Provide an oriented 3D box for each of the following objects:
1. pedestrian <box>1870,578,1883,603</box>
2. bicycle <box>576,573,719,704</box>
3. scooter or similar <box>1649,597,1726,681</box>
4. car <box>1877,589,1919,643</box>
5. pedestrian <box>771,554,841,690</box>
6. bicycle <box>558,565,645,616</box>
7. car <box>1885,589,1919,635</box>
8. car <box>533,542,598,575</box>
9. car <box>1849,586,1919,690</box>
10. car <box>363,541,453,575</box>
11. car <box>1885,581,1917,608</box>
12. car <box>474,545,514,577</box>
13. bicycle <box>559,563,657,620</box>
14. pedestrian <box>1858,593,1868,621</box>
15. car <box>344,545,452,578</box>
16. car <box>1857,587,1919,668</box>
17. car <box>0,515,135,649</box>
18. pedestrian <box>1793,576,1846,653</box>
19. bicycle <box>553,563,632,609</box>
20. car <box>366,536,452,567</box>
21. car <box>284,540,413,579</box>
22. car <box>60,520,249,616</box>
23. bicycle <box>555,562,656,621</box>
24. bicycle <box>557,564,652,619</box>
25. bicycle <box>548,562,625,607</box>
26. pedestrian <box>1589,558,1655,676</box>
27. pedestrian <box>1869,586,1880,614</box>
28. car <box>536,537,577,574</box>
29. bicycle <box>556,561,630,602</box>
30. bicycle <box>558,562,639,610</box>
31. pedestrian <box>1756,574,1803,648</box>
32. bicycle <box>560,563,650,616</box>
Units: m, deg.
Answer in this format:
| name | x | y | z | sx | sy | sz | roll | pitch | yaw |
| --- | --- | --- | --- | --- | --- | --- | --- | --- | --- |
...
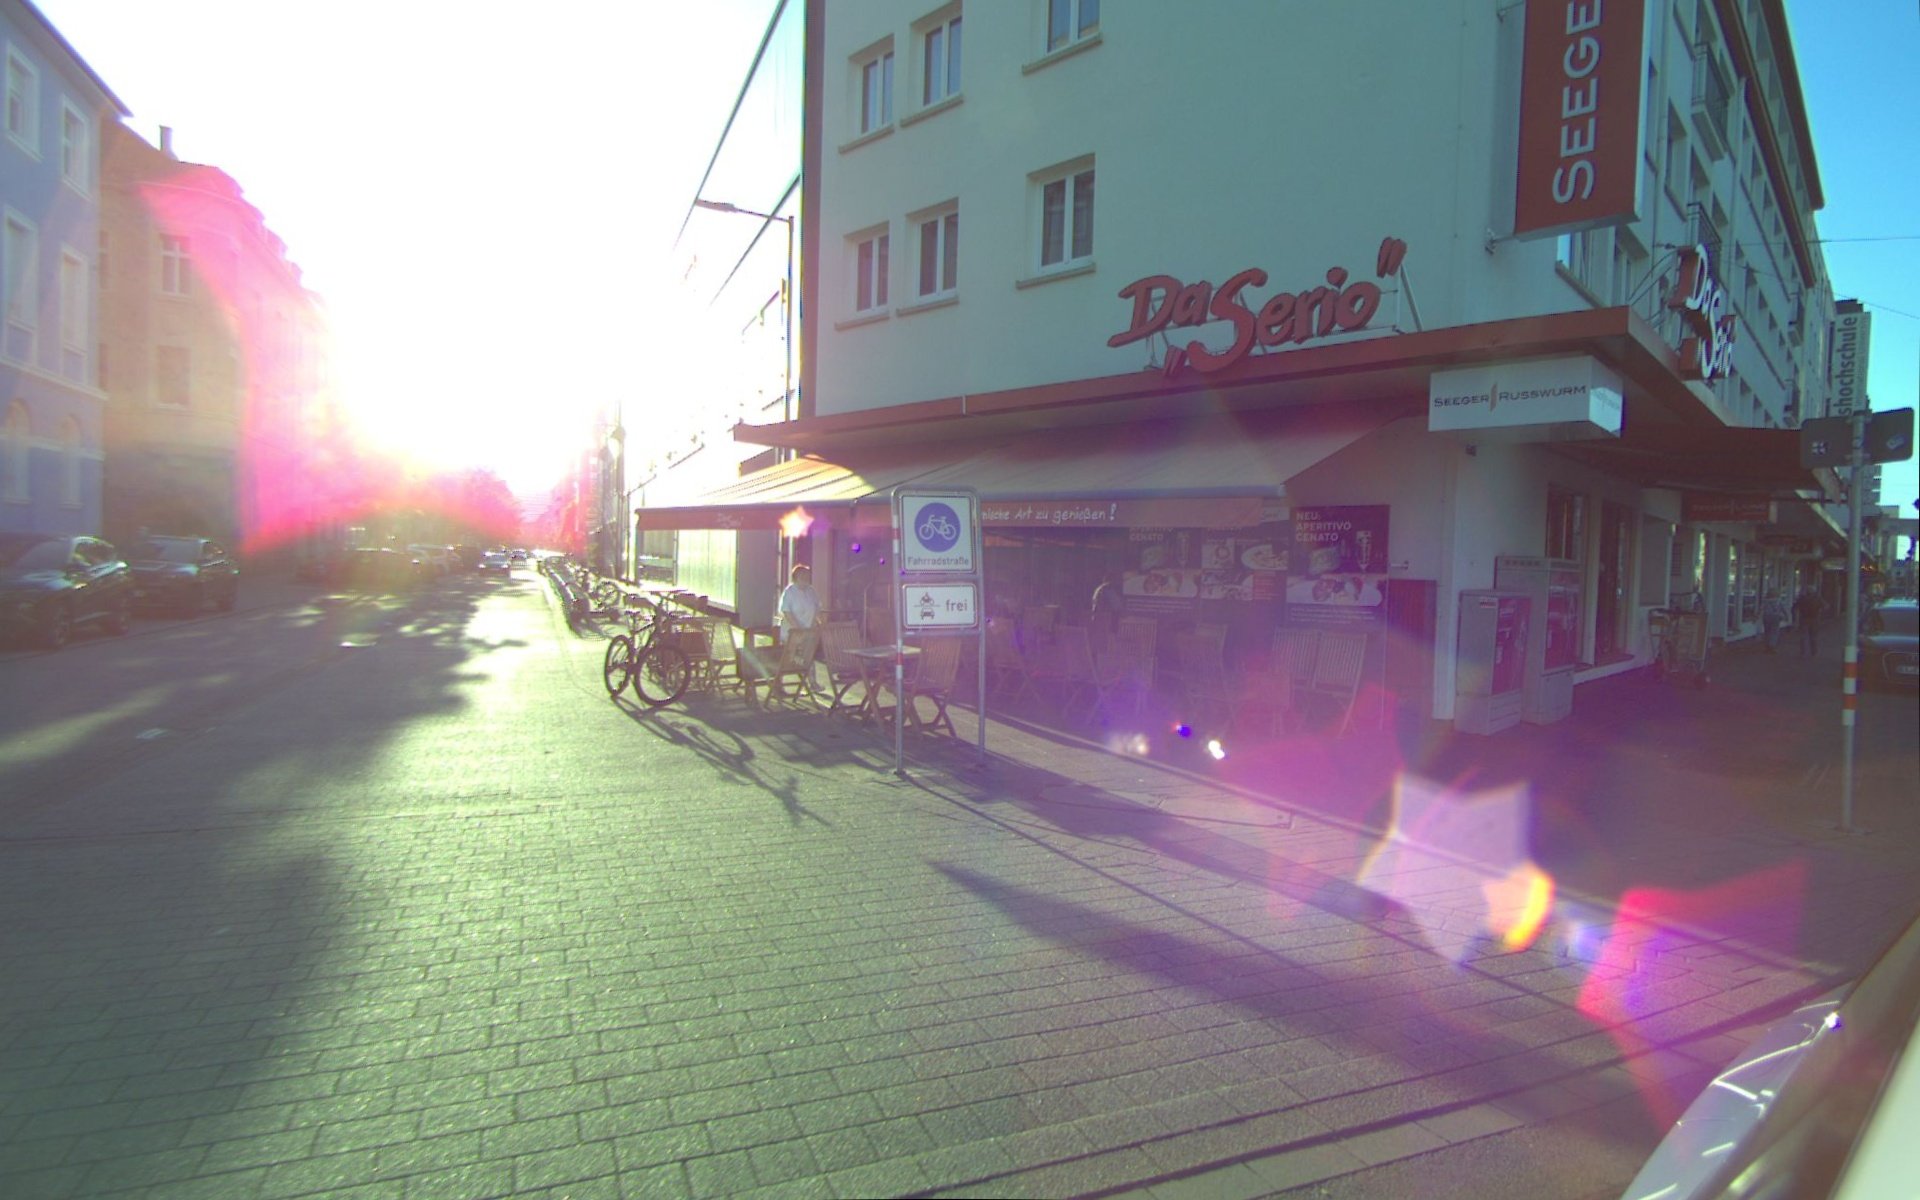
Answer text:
| name | x | y | z | sx | sy | sz | roll | pitch | yaw |
| --- | --- | --- | --- | --- | --- | --- | --- | --- | --- |
| pedestrian | 76.263 | -0.796 | 84.190 | 0.710 | 2.038 | 0.812 | 4 | 2 | 43 |
| bicycle | -3.584 | 0.376 | 11.473 | 0.692 | 1.303 | 2.109 | 0 | 3 | -43 |
| scooter or similar | 11.356 | 0.589 | 15.836 | 0.350 | 1.217 | 1.247 | 2 | 2 | 5 |
| car | 29.954 | 0.486 | 31.623 | 1.736 | 1.530 | 4.235 | 6 | 4 | 43 |
| pedestrian | -1.818 | 0.240 | 11.990 | 0.569 | 1.560 | 0.567 | 2 | 2 | 34 |
| bicycle | -9.494 | -0.255 | 26.829 | 2.069 | 1.235 | 0.706 | 2 | 1 | -24 |
| car | 34.376 | 0.420 | 36.173 | 1.790 | 1.530 | 4.640 | 5 | 4 | 42 |
| car | -25.533 | -2.681 | 65.603 | 3.916 | 2.039 | 2.004 | 0 | 1 | -21 |
| car | 16.376 | 0.600 | 17.127 | 1.736 | 1.530 | 4.612 | 6 | 4 | 43 |
| car | -30.366 | -2.320 | 55.729 | 1.991 | 1.731 | 3.943 | 3 | 2 | 40 |
| car | 89.487 | -0.527 | 96.274 | 2.040 | 2.414 | 5.500 | 4 | 3 | 42 |
| car | -30.702 | -2.566 | 66.740 | 1.958 | 2.039 | 4.009 | 0 | 1 | -19 |
| bicycle | -8.280 | -0.195 | 23.828 | 2.069 | 1.235 | 0.706 | 2 | 1 | -24 |
| pedestrian | 63.700 | 0.510 | 71.383 | 0.451 | 1.922 | 0.415 | 4 | 2 | 43 |
| car | -25.844 | -1.751 | 46.583 | 1.994 | 1.404 | 3.937 | 4 | 3 | 44 |
| car | 20.401 | 0.564 | 21.498 | 1.786 | 1.530 | 3.988 | 6 | 4 | 43 |
| car | -14.101 | -0.362 | 15.203 | 1.855 | 1.771 | 4.007 | 4 | 1 | -29 |
| pedestrian | 20.626 | 0.331 | 24.291 | 0.827 | 1.739 | 0.829 | 5 | 4 | 44 |
| bicycle | -10.756 | -0.412 | 29.637 | 2.069 | 1.235 | 0.706 | 2 | 1 | -24 |
| car | -31.729 | -2.765 | 58.329 | 1.991 | 1.626 | 3.943 | 3 | 2 | 40 |
| car | -24.437 | -1.607 | 40.563 | 1.983 | 1.448 | 3.959 | 3 | 2 | 29 |
| car | -16.955 | -0.707 | 21.576 | 1.854 | 1.771 | 4.444 | 3 | 2 | -21 |
| bicycle | -8.043 | -0.184 | 22.964 | 2.069 | 1.235 | 0.706 | 2 | 1 | -24 |
| bicycle | -8.632 | -0.203 | 24.571 | 2.069 | 1.235 | 0.706 | 2 | 1 | -24 |
| bicycle | -11.178 | -0.453 | 30.269 | 2.069 | 1.235 | 0.706 | 2 | 1 | -24 |
| pedestrian | 10.248 | 0.246 | 15.672 | 0.592 | 1.782 | 0.527 | 2 | 2 | -1 |
| pedestrian | 63.602 | -0.016 | 70.370 | 0.455 | 1.922 | 0.415 | 4 | 2 | 43 |
| car | -23.307 | -2.509 | 58.566 | 1.958 | 2.039 | 4.267 | 0 | 1 | -19 |
| bicycle | -11.749 | -0.589 | 32.423 | 2.071 | 1.235 | 0.705 | 2 | 1 | -31 |
| bicycle | -10.143 | -0.388 | 28.402 | 2.069 | 1.235 | 0.706 | 2 | 1 | -24 |
| pedestrian | 20.410 | 0.263 | 25.198 | 0.729 | 1.762 | 0.849 | 5 | 4 | 44 |
| bicycle | -8.987 | -0.252 | 25.623 | 2.069 | 1.235 | 0.706 | 2 | 1 | -24 |
